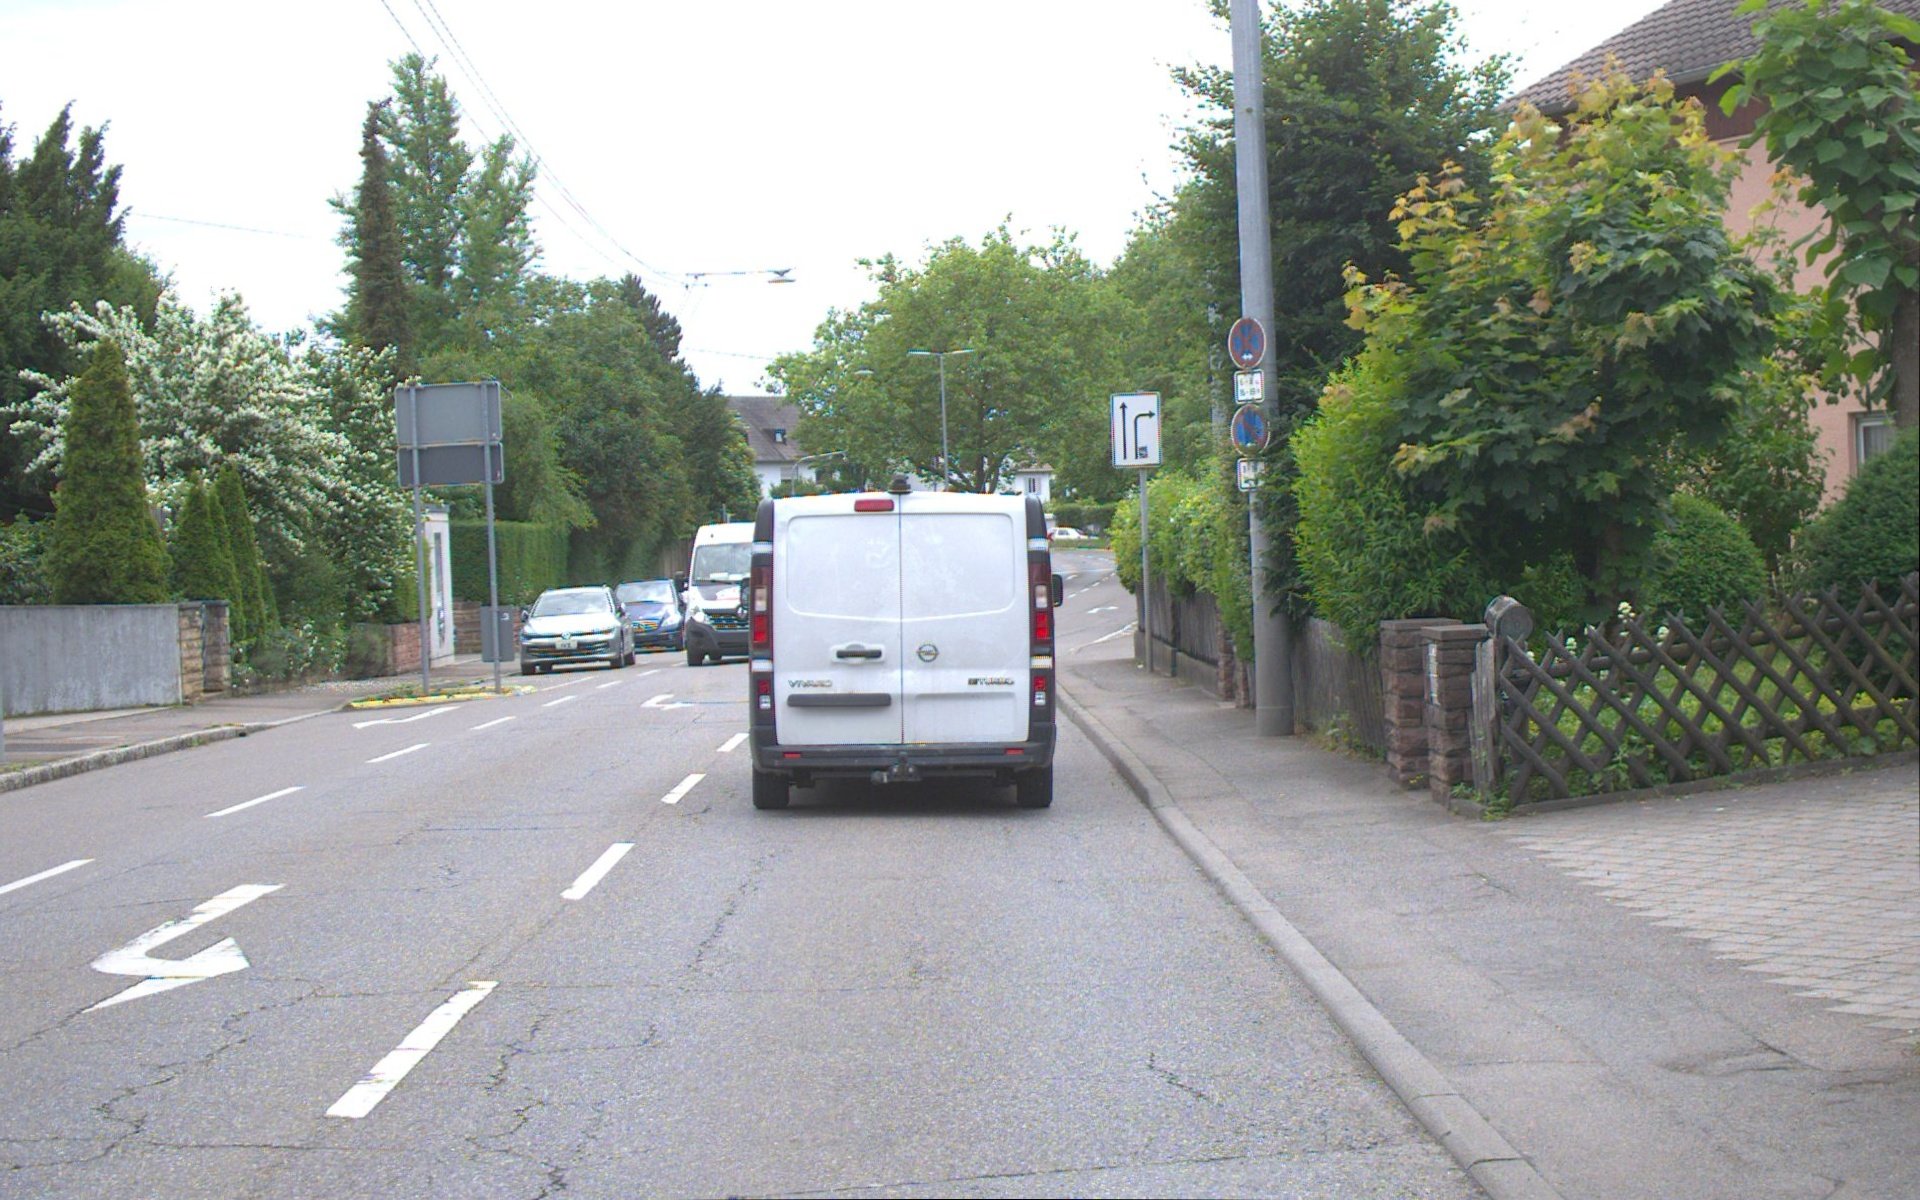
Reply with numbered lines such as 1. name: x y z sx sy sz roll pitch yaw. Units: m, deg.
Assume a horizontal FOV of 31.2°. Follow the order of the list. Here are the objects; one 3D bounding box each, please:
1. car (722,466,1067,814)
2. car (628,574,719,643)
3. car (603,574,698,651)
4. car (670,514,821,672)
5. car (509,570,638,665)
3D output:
1. car: -0.437 0.198 22.631 2.006 2.031 5.010 0 1 -1
2. car: -6.964 0.193 83.773 1.889 1.489 4.027 -3 1 -1
3. car: -6.791 0.254 75.799 1.678 1.551 3.971 -3 0 0
4. car: -3.664 -0.197 59.705 2.111 2.489 6.125 -2 2 0
5. car: -6.797 0.279 60.885 1.809 1.450 4.414 -4 1 -2
